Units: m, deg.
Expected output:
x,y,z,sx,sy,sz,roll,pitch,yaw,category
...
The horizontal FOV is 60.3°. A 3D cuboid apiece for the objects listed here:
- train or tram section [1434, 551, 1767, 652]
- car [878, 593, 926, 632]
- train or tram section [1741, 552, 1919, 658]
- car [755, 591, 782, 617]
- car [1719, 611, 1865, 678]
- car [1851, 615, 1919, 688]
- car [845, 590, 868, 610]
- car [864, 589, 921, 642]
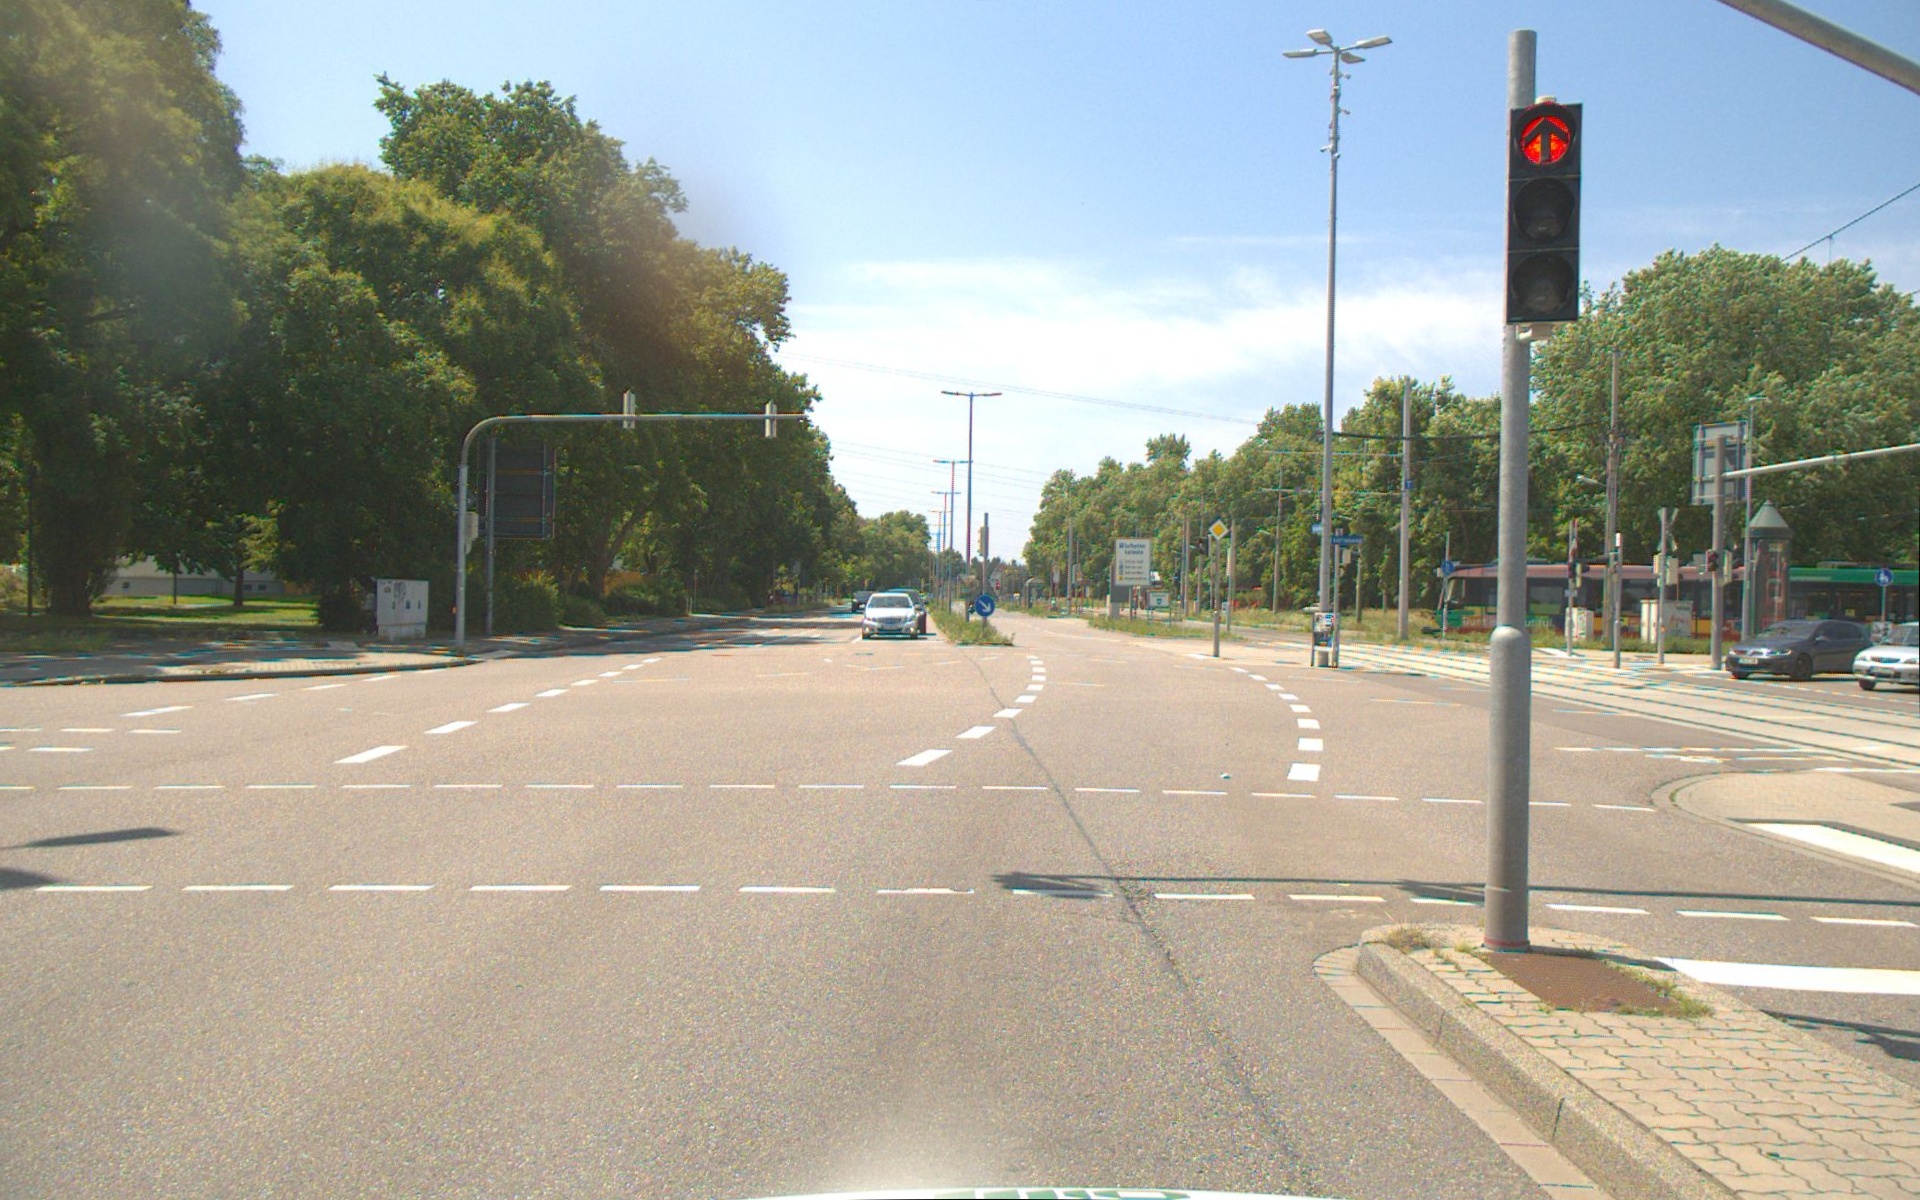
x,y,z,sx,sy,sz,roll,pitch,yaw,category
26.763,0.036,69.668,12.766,3.878,2.923,1,-3,22,train or tram section
-2.145,0.441,61.540,1.676,1.389,3.864,1,0,-1,car
39.119,0.364,67.926,13.153,3.879,2.919,2,-3,-6,train or tram section
-16.720,0.367,144.507,1.955,2.048,3.996,4,-1,-4,car
19.965,1.050,39.661,3.465,1.488,1.622,1,0,-33,car
21.196,1.097,36.111,3.764,1.488,1.619,1,0,-36,car
-8.163,-0.007,130.686,1.637,1.516,3.710,1,0,-1,car
-2.181,0.484,54.193,1.748,1.657,3.864,1,0,-1,car
